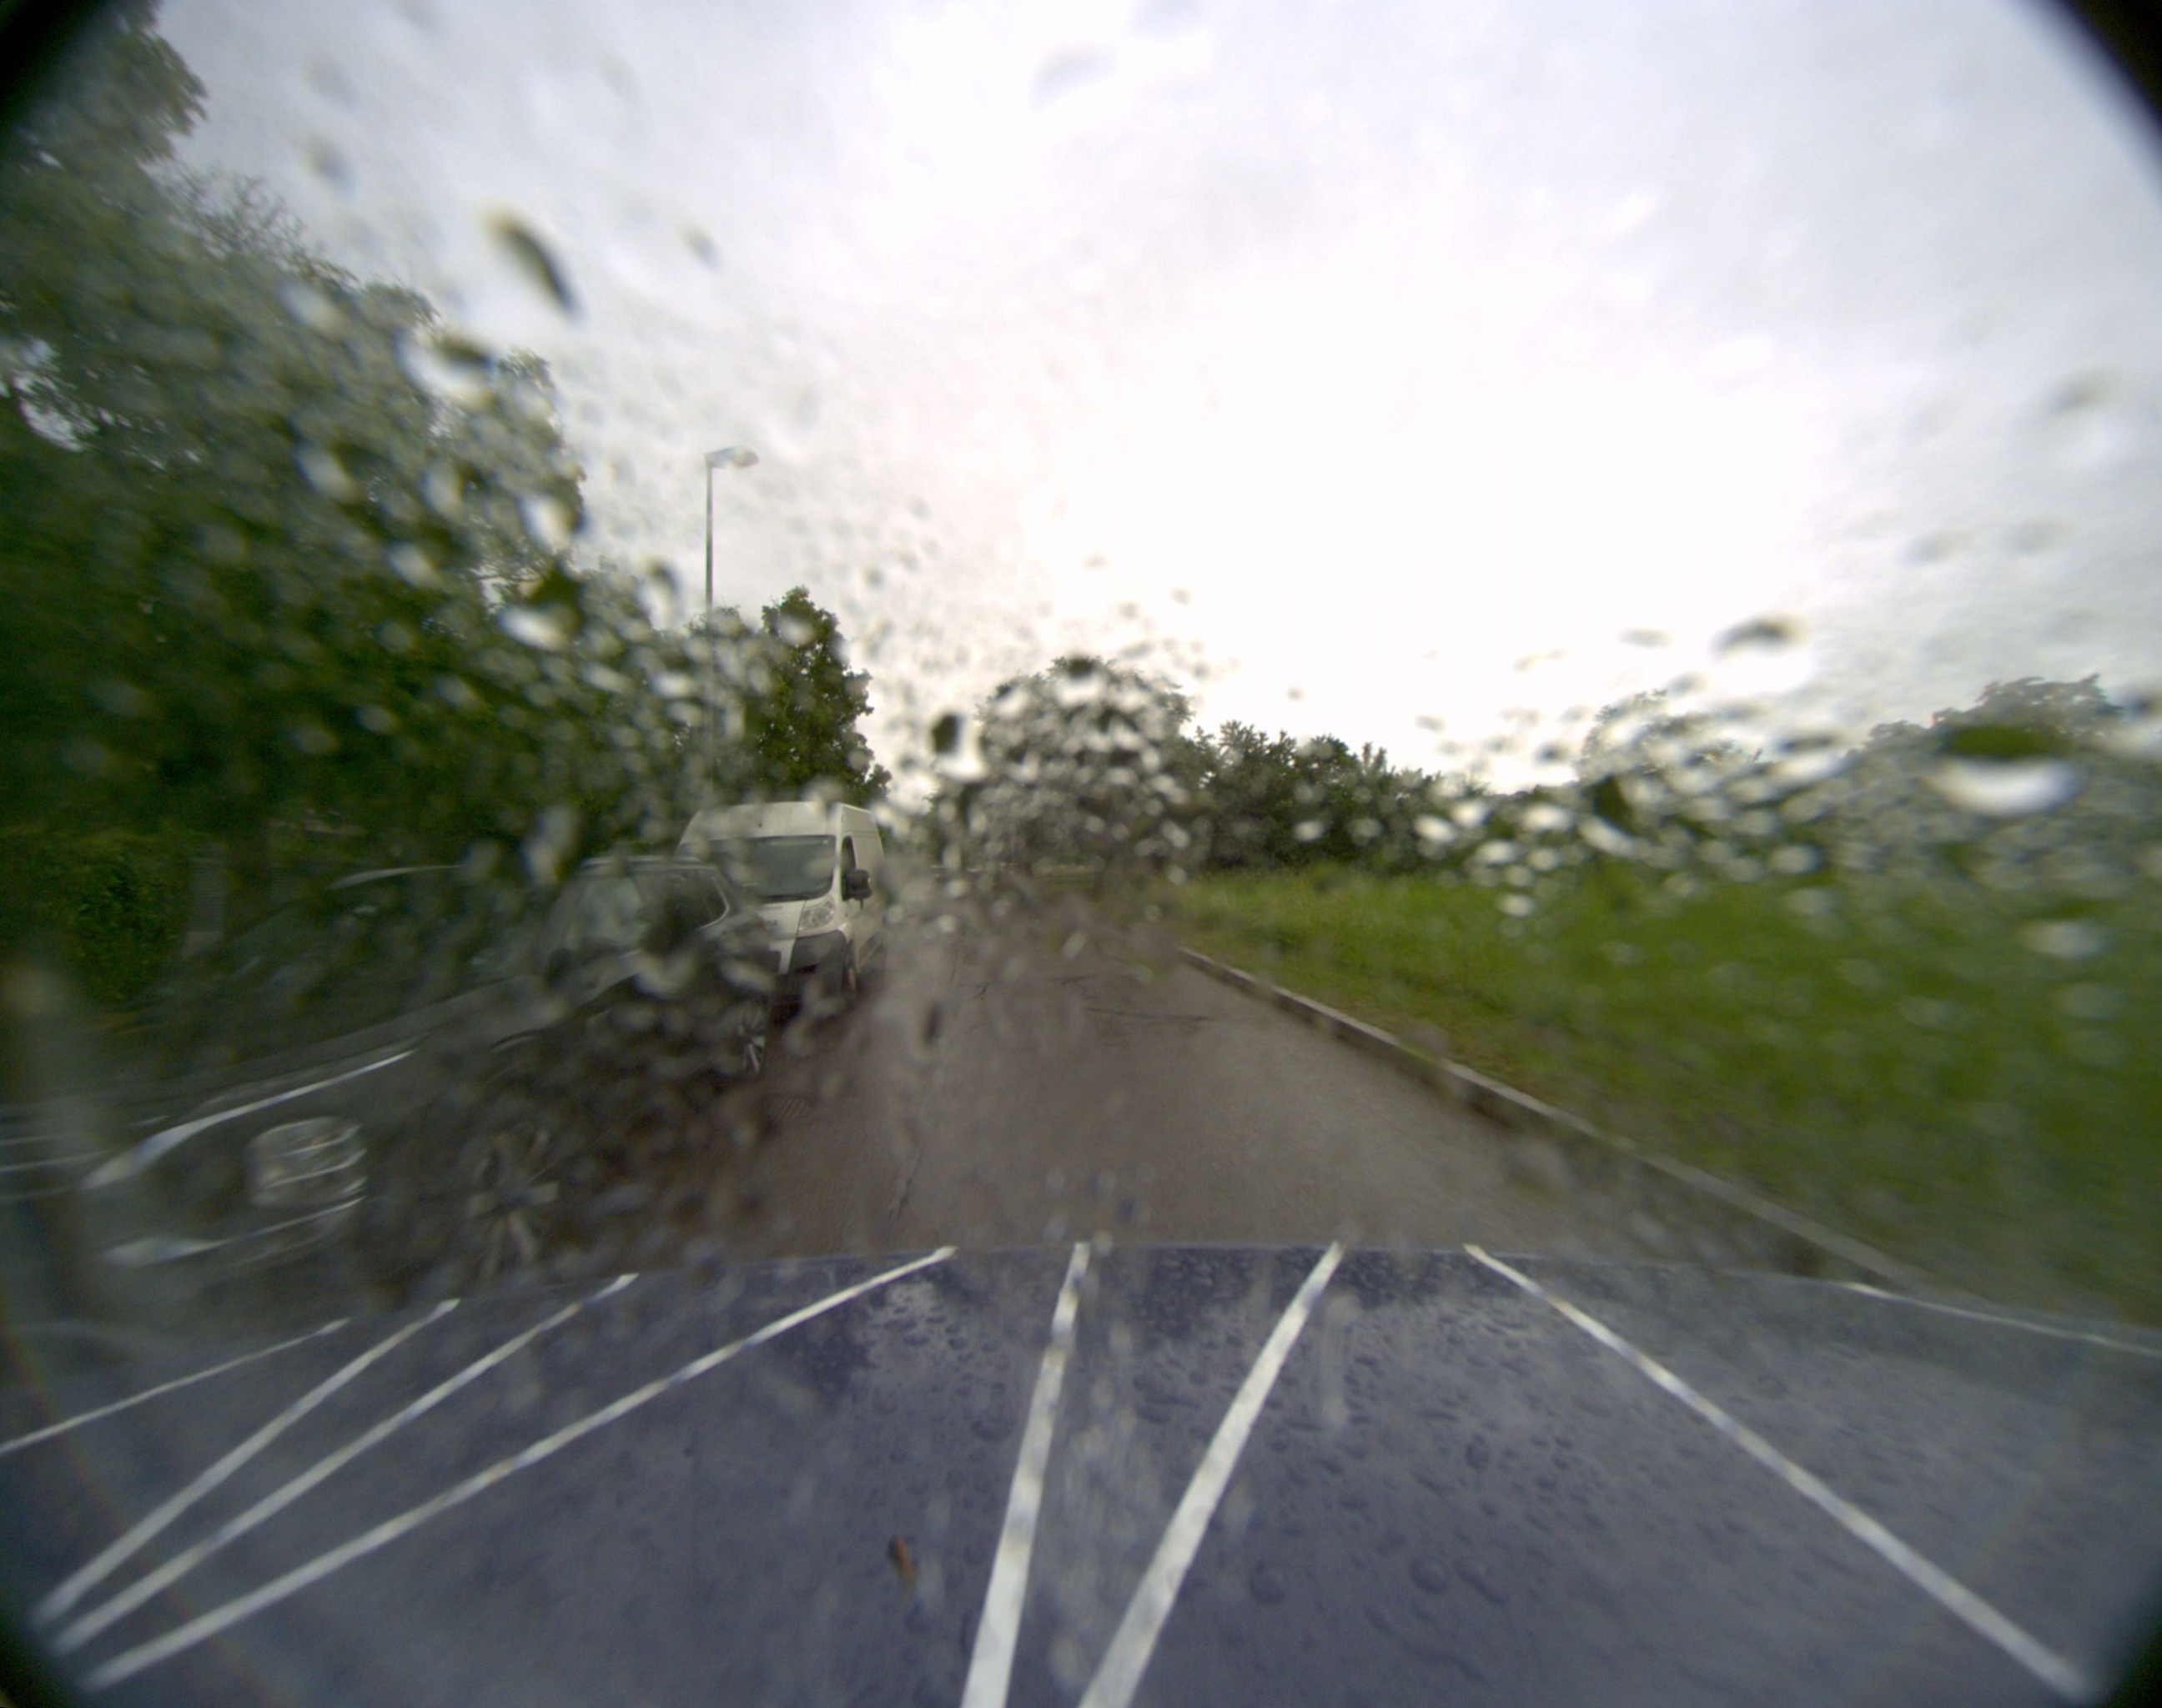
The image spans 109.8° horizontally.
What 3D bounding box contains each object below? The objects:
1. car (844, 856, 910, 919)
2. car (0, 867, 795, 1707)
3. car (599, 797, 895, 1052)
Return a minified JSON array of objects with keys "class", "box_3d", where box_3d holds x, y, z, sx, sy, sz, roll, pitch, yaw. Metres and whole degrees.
[{"class":"car","box_3d":[-6.582,1.001,24.823,1.826,1.775,3.814,-2,1,-12]},{"class":"car","box_3d":[-3.183,1.019,3.914,1.816,1.717,4.650,-2,1,-3]},{"class":"car","box_3d":[-3.799,0.675,9.903,2.054,2.317,5.403,-2,0,-8]}]
